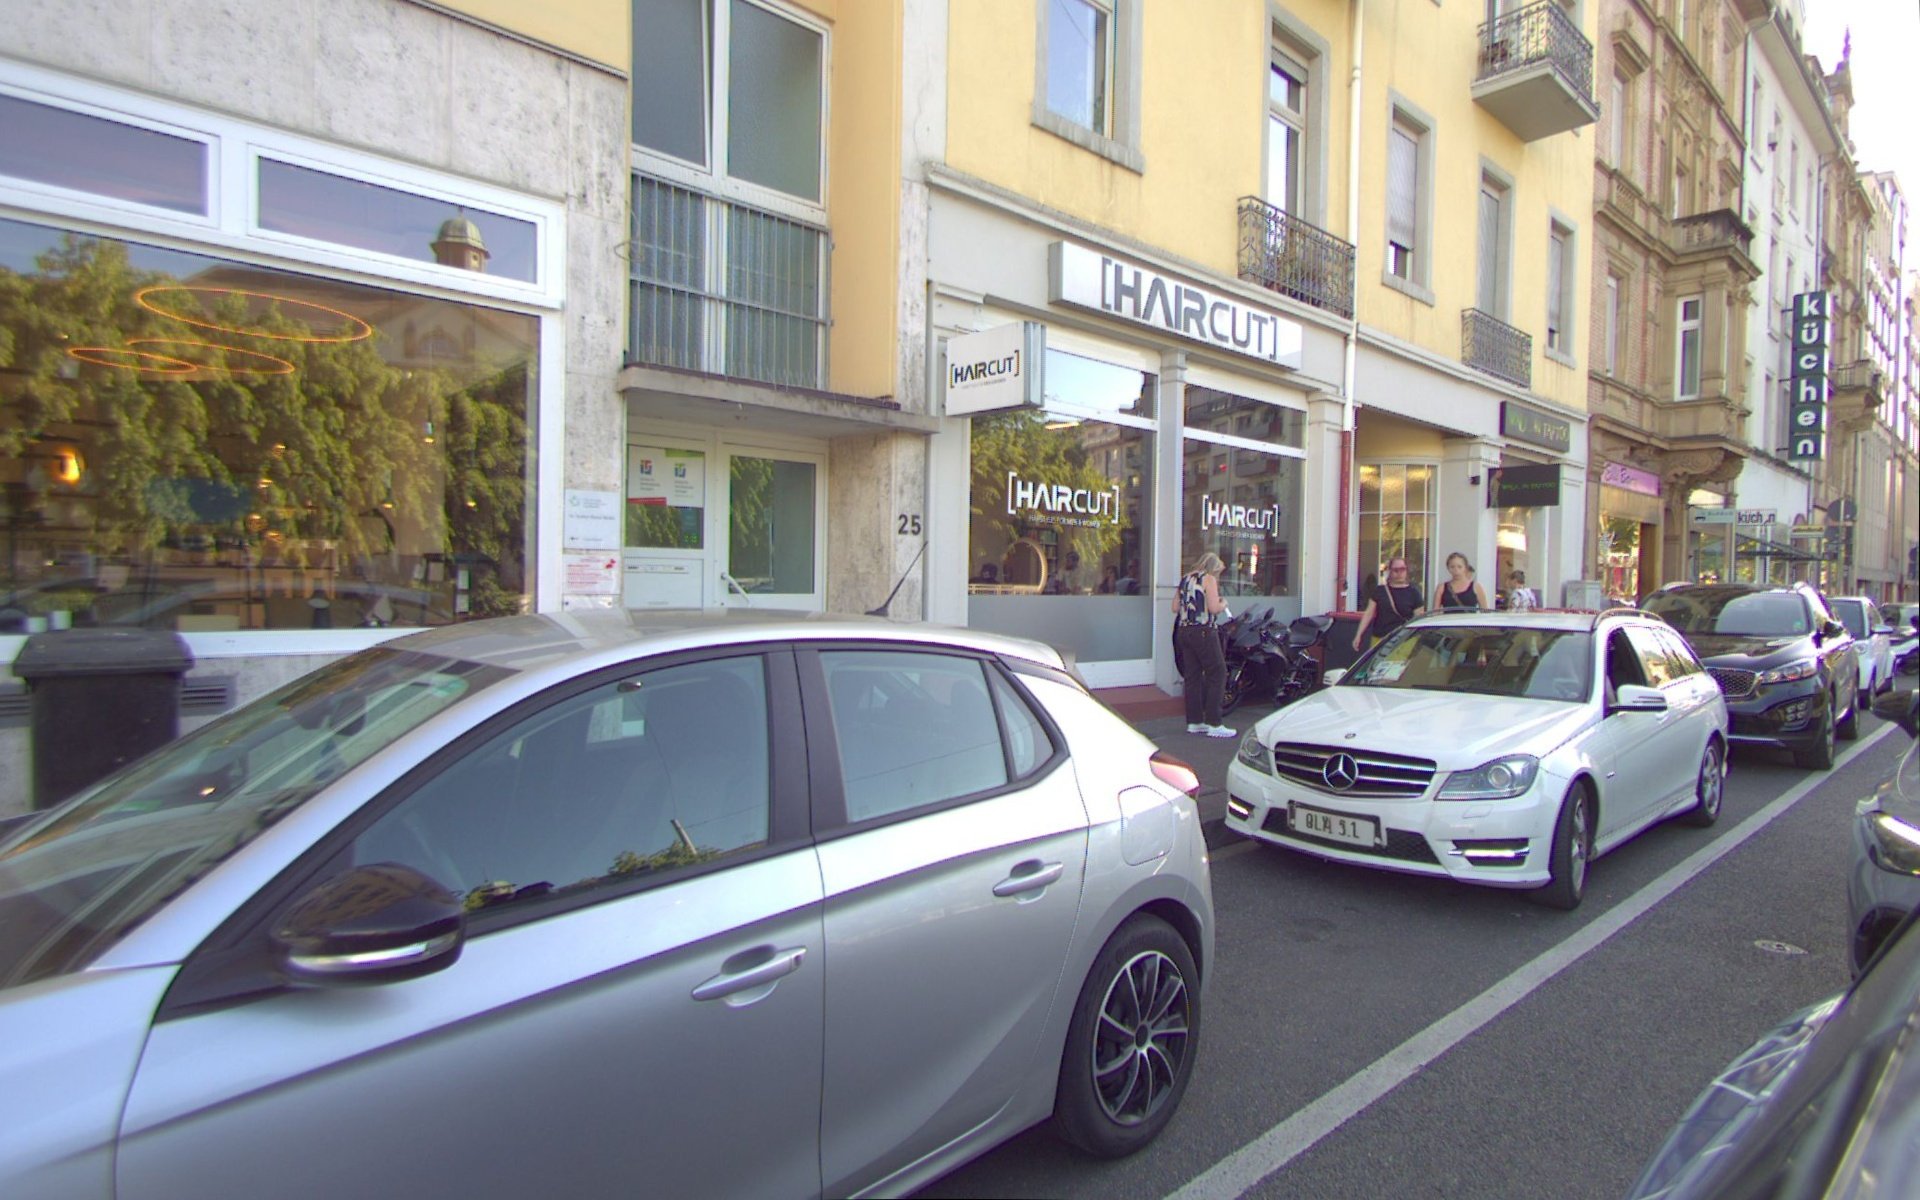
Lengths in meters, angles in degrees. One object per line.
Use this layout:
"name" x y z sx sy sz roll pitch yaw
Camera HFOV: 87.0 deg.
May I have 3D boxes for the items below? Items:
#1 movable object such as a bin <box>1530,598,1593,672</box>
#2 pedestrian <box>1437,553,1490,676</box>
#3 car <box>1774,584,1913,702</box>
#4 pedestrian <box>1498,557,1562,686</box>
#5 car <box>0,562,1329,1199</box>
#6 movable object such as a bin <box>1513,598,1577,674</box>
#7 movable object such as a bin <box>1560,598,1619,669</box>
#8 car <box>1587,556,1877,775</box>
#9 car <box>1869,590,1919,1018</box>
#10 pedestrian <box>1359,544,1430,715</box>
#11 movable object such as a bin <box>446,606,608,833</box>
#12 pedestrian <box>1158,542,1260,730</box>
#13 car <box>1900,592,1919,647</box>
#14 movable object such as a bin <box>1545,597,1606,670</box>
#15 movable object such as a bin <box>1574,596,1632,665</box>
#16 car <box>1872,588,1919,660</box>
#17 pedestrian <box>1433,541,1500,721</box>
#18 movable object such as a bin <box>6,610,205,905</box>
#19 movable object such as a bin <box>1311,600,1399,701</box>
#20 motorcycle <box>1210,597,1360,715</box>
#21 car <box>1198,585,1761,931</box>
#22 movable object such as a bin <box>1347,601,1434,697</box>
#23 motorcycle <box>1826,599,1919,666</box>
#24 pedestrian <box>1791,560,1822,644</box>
"movable object such as a bin" 9.301 0.524 15.652 0.608 1.079 0.606 0 4 -41
"pedestrian" 7.004 0.196 14.074 0.513 1.681 0.339 1 2 -21
"car" 12.832 0.543 14.658 2.748 1.537 1.273 0 1 -44
"pedestrian" 7.668 0.276 13.634 0.584 1.681 0.449 2 2 15
"car" -0.887 0.661 2.431 4.007 1.445 1.672 0 1 -42
"movable object such as a bin" 8.812 0.530 15.246 0.608 1.079 0.606 0 4 -41
"movable object such as a bin" 10.230 0.525 16.453 0.608 1.079 0.606 0 4 -41
"car" 8.028 0.499 10.342 4.498 1.758 1.756 0 1 -45
"car" 5.419 0.705 4.293 4.297 1.467 1.846 0 1 -41
"pedestrian" 4.355 0.275 10.138 0.613 1.653 0.458 1 0 29
"movable object such as a bin" -2.364 0.598 5.505 0.609 1.080 0.704 0 4 -41
"pedestrian" 2.287 0.299 9.320 0.523 1.653 0.697 0 2 -43
"car" 26.593 0.510 27.078 3.736 1.435 1.736 0 1 -41
"movable object such as a bin" 9.759 0.518 16.046 0.608 1.079 0.606 0 4 -41
"movable object such as a bin" 10.720 0.494 16.884 0.608 1.079 0.606 0 4 -41
"car" 22.157 0.520 23.071 4.096 1.537 1.734 0 1 -44
"pedestrian" 4.830 0.281 9.648 0.512 1.653 0.409 1 0 35
"movable object such as a bin" -3.670 0.616 4.365 0.609 1.080 0.704 0 4 -41
"movable object such as a bin" 4.453 0.549 11.422 0.608 1.054 0.661 1 3 -38
"motorcycle" 3.429 0.532 10.563 1.975 1.105 0.551 0 3 -42
"car" 3.533 0.653 6.439 4.387 1.465 1.741 0 1 -42
"movable object such as a bin" 5.011 0.551 11.787 0.608 1.037 0.669 1 3 -38
"motorcycle" 19.029 0.655 20.473 2.137 1.295 0.866 1 0 7
"pedestrian" 18.272 0.033 21.842 0.473 1.785 0.434 0 0 -41
